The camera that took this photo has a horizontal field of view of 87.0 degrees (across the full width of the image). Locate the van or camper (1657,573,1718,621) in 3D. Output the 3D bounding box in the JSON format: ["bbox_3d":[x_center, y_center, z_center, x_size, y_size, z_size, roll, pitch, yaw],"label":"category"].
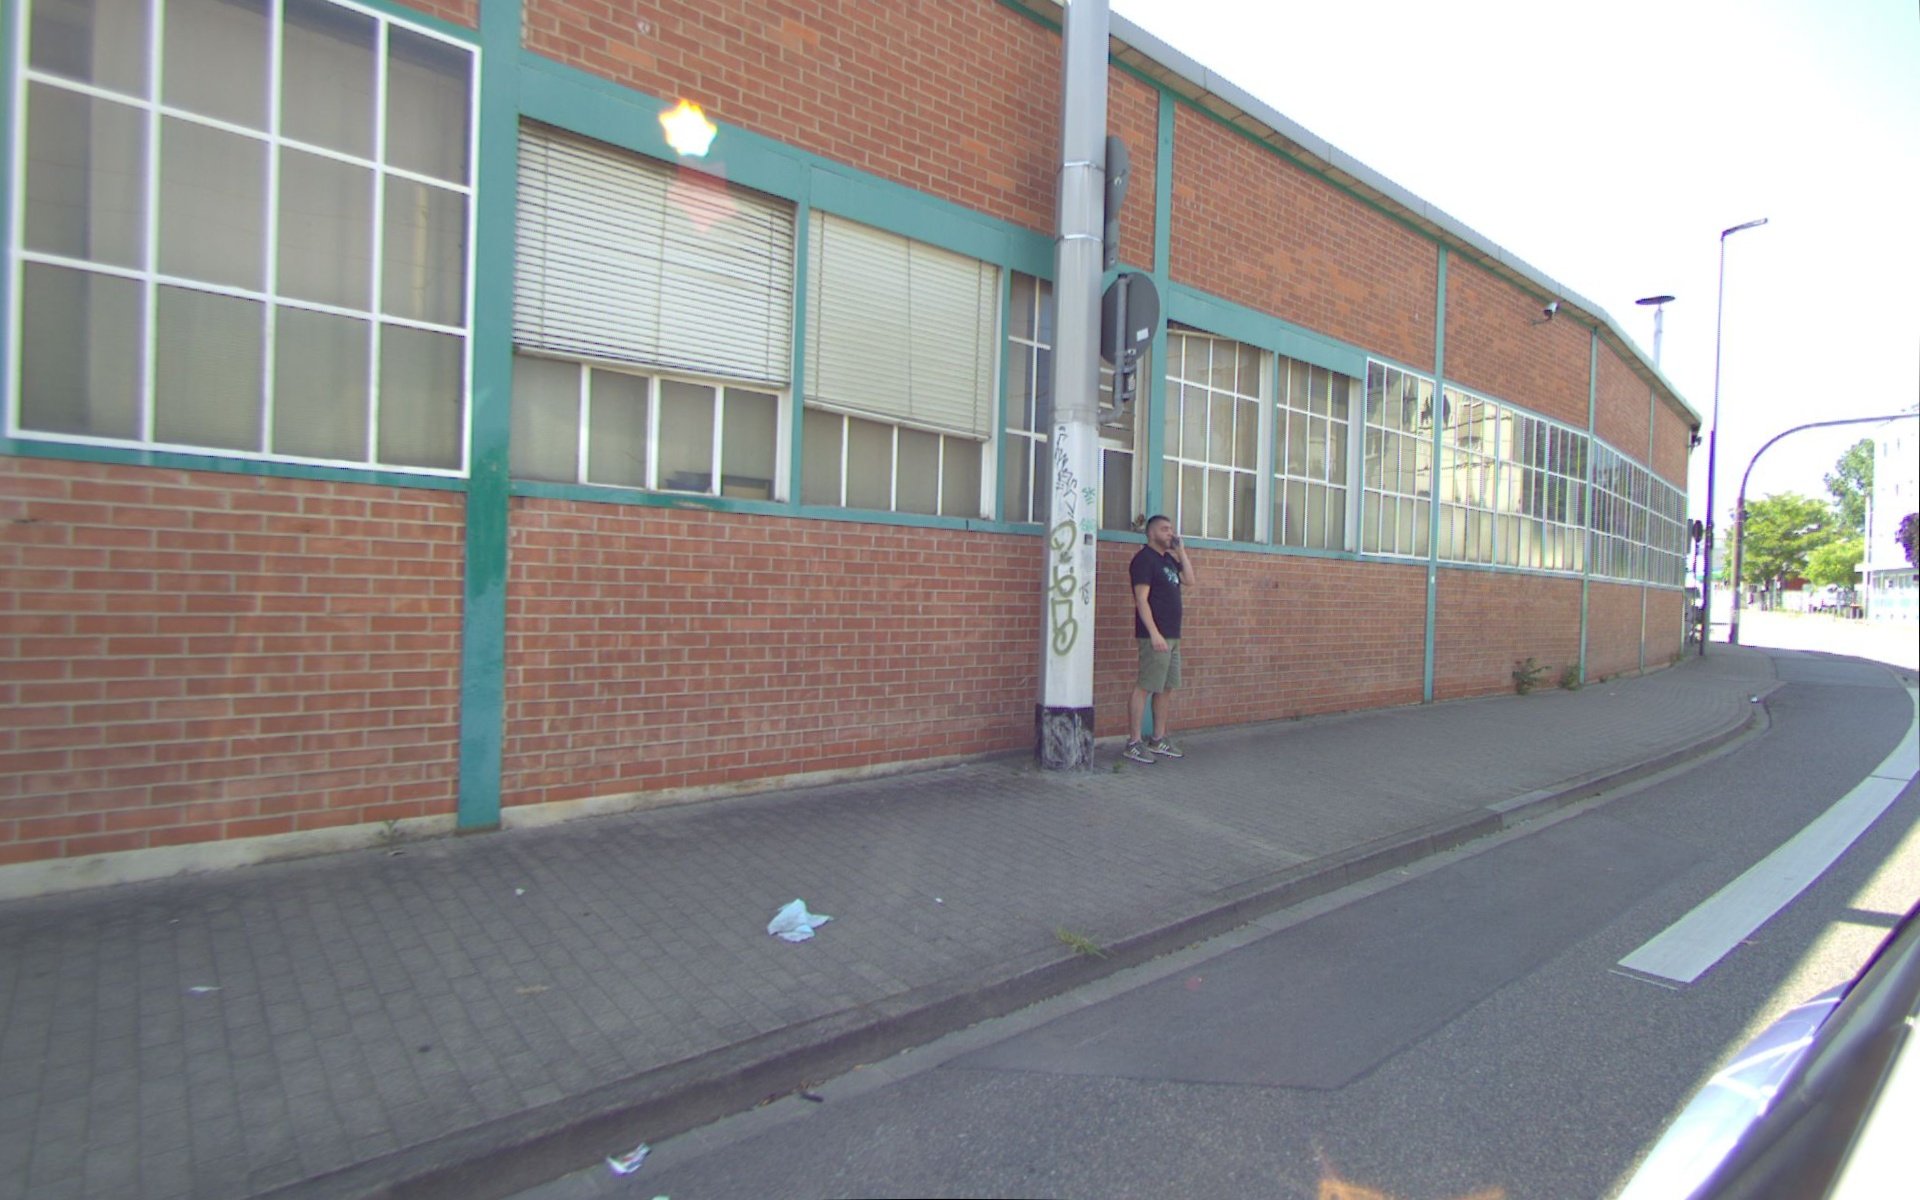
[{"bbox_3d":[42.028,-0.215,58.559,2.026,2.565,5.811,2,1,28],"label":"van or camper"}]

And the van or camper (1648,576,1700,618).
[{"bbox_3d":[46.285,-0.246,65.711,2.026,2.565,5.527,2,1,28],"label":"van or camper"}]

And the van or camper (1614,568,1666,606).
[{"bbox_3d":[52.798,-1.027,78.769,2.501,2.821,7.048,2,1,27],"label":"van or camper"}]

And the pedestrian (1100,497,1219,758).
[{"bbox_3d":[1.446,0.198,7.317,0.673,1.787,0.449,4,-2,-38],"label":"pedestrian"}]
